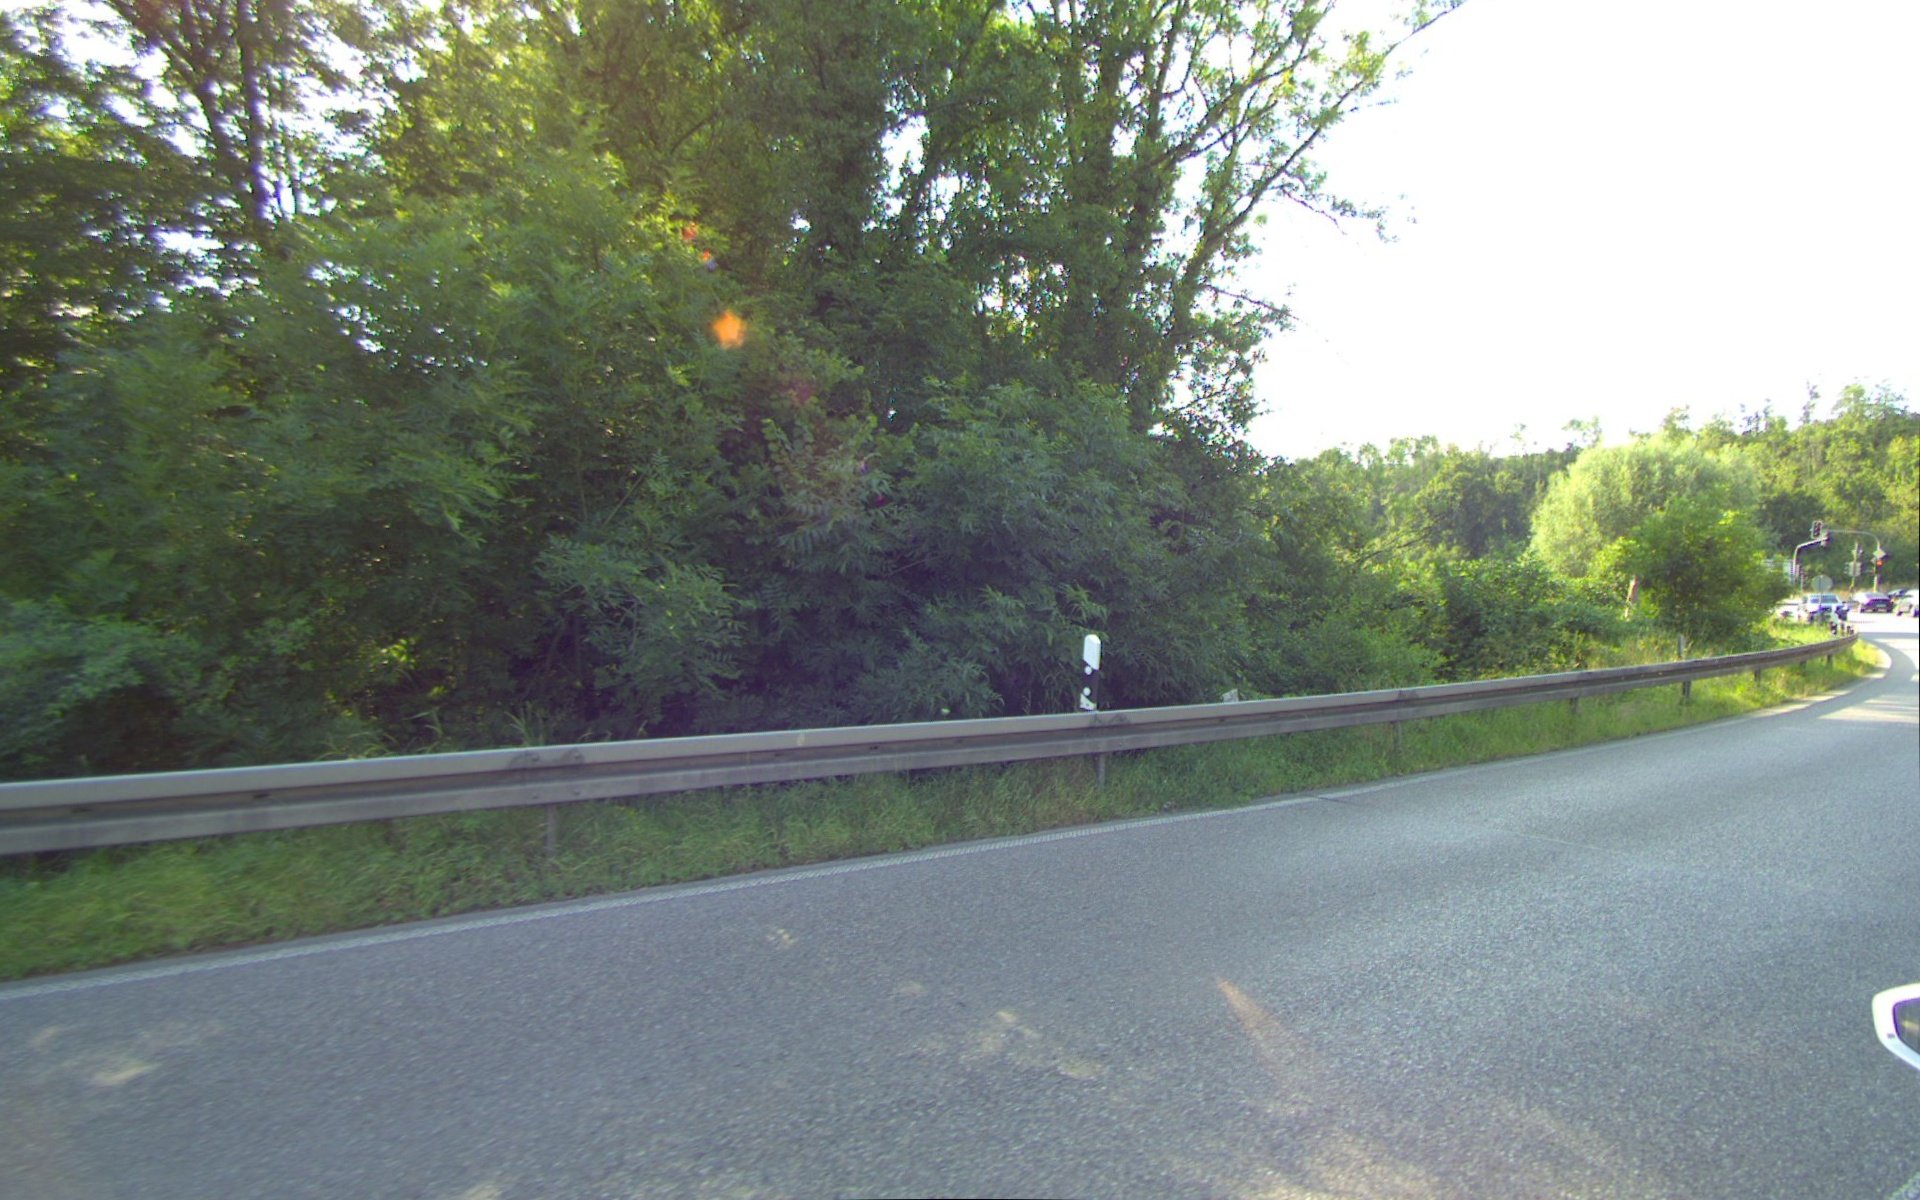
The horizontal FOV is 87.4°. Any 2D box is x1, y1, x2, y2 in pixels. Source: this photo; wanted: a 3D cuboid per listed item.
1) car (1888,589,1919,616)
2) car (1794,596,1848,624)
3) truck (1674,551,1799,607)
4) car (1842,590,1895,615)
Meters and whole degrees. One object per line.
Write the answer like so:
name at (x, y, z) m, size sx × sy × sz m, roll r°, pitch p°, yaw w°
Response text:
car at (59.807, 0.136, 62.749) m, size 1.840 × 1.616 × 3.991 m, roll 3°, pitch 2°, yaw 30°
car at (50.378, 0.540, 58.853) m, size 1.841 × 1.586 × 3.989 m, roll 0°, pitch 0°, yaw 32°
truck at (69.738, -1.886, 90.208) m, size 10.064 × 4.647 × 3.014 m, roll 1°, pitch 2°, yaw -13°
car at (63.620, 0.136, 70.386) m, size 1.840 × 1.586 × 3.992 m, roll 3°, pitch 2°, yaw 29°
